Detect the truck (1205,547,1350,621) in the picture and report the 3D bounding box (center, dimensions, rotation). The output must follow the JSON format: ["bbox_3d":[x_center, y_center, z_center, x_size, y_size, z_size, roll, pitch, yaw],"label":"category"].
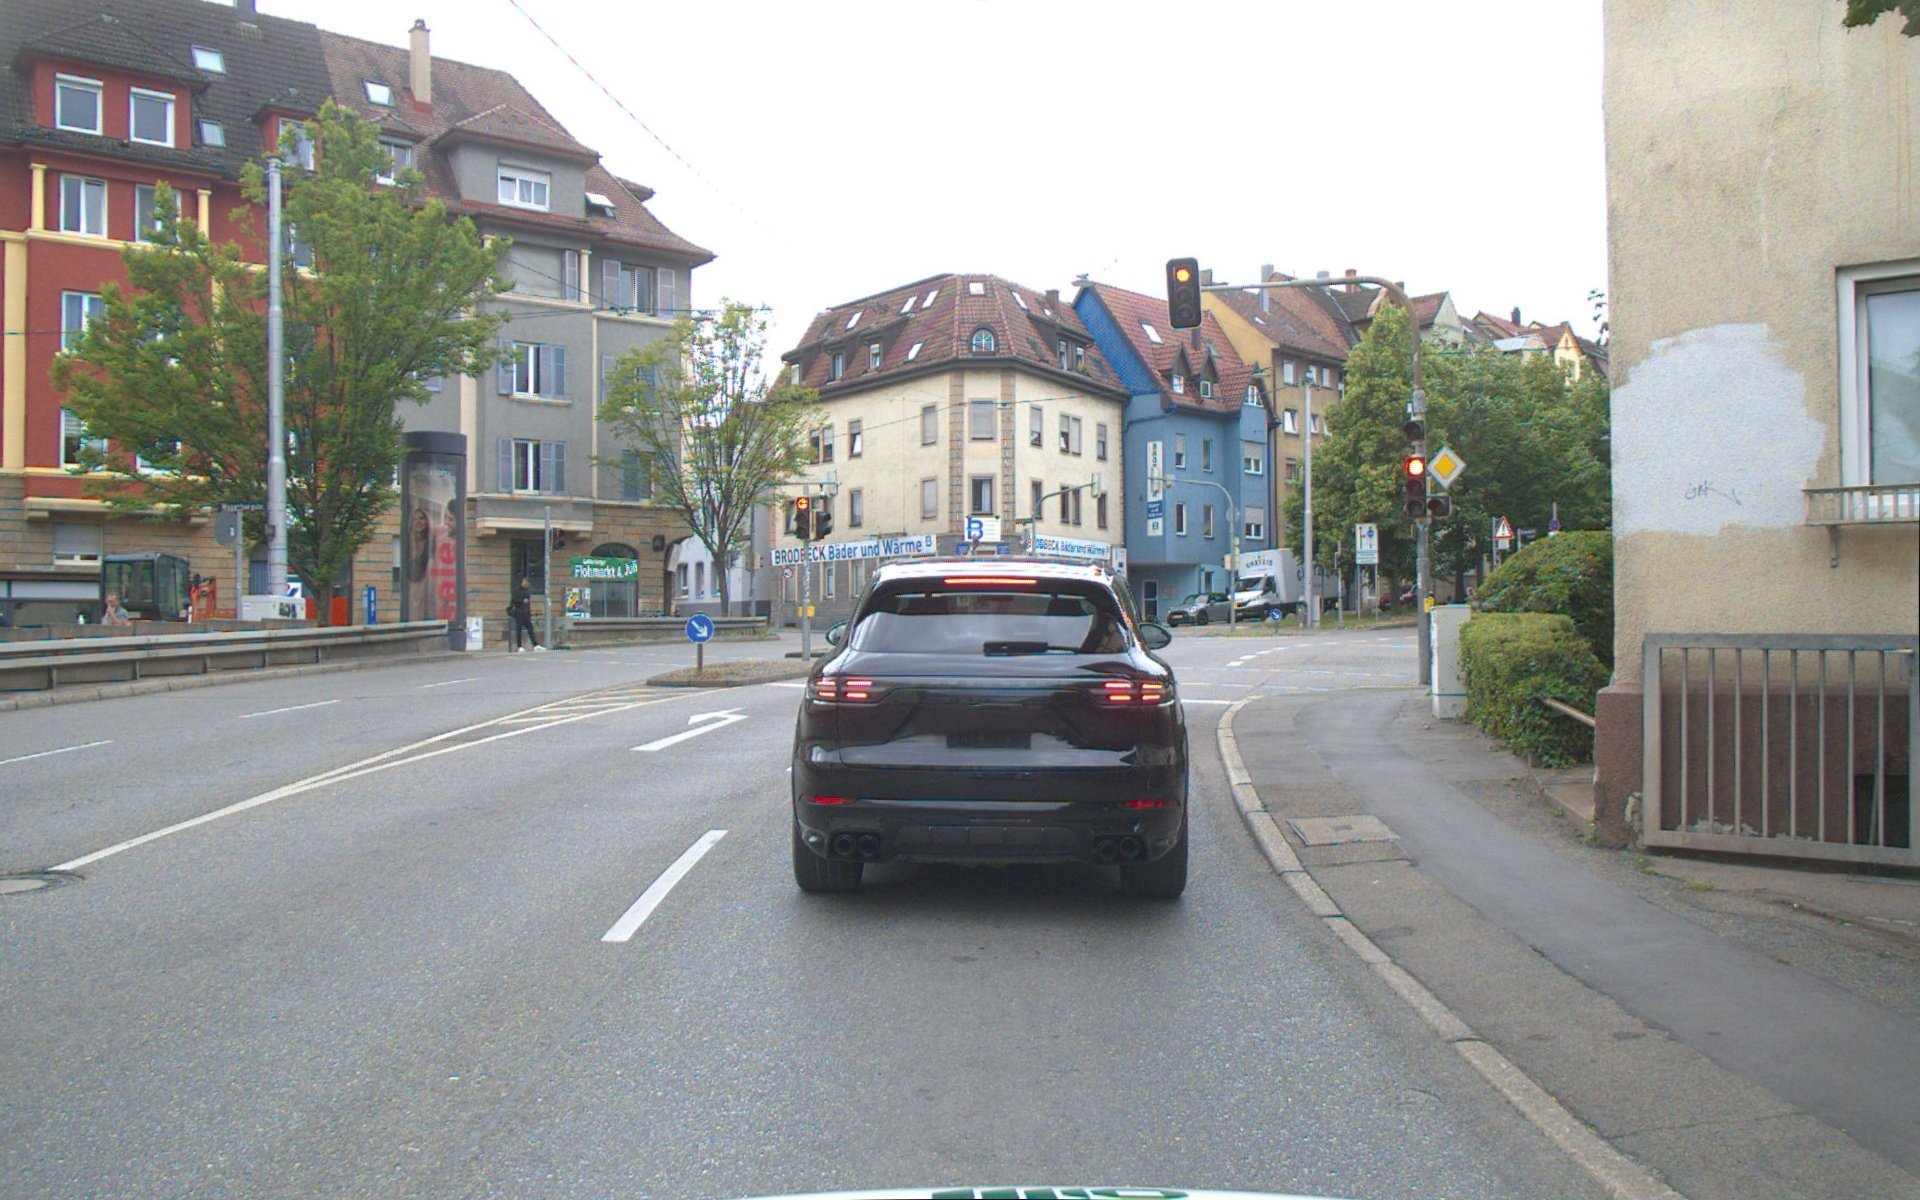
[{"bbox_3d":[15.703,-0.720,81.289,2.832,3.398,8.740,2,0,42],"label":"truck"}]

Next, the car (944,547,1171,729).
[{"bbox_3d":[1.160,0.354,17.636,1.951,1.713,4.003,0,0,10],"label":"car"}]

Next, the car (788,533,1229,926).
[{"bbox_3d":[0.119,0.536,9.269,1.939,1.713,3.998,0,1,-3],"label":"car"}]

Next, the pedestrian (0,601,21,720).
[{"bbox_3d":[-14.830,0.919,25.265,0.561,1.792,0.616,2,-1,35],"label":"pedestrian"}]

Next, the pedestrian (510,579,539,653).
[{"bbox_3d":[-10.519,0.378,39.924,0.503,1.760,0.451,2,0,2],"label":"pedestrian"}]

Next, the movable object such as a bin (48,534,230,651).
[{"bbox_3d":[-13.970,-0.122,28.380,1.869,1.802,3.986,2,0,-13],"label":"movable object such as a bin"}]

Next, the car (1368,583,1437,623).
[{"bbox_3d":[24.290,0.176,90.707,1.965,2.049,3.974,2,0,43],"label":"car"}]

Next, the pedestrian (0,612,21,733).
[{"bbox_3d":[-14.096,1.036,24.060,0.552,1.729,0.542,2,0,-11],"label":"pedestrian"}]

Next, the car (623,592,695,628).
[{"bbox_3d":[-14.781,0.471,81.062,1.978,1.713,3.949,1,-1,-36],"label":"car"}]

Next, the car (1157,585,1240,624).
[{"bbox_3d":[10.782,0.188,74.514,1.962,1.713,3.980,0,0,39],"label":"car"}]

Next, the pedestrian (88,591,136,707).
[{"bbox_3d":[-13.044,0.749,25.453,0.537,1.760,0.586,2,-1,-34],"label":"pedestrian"}]
